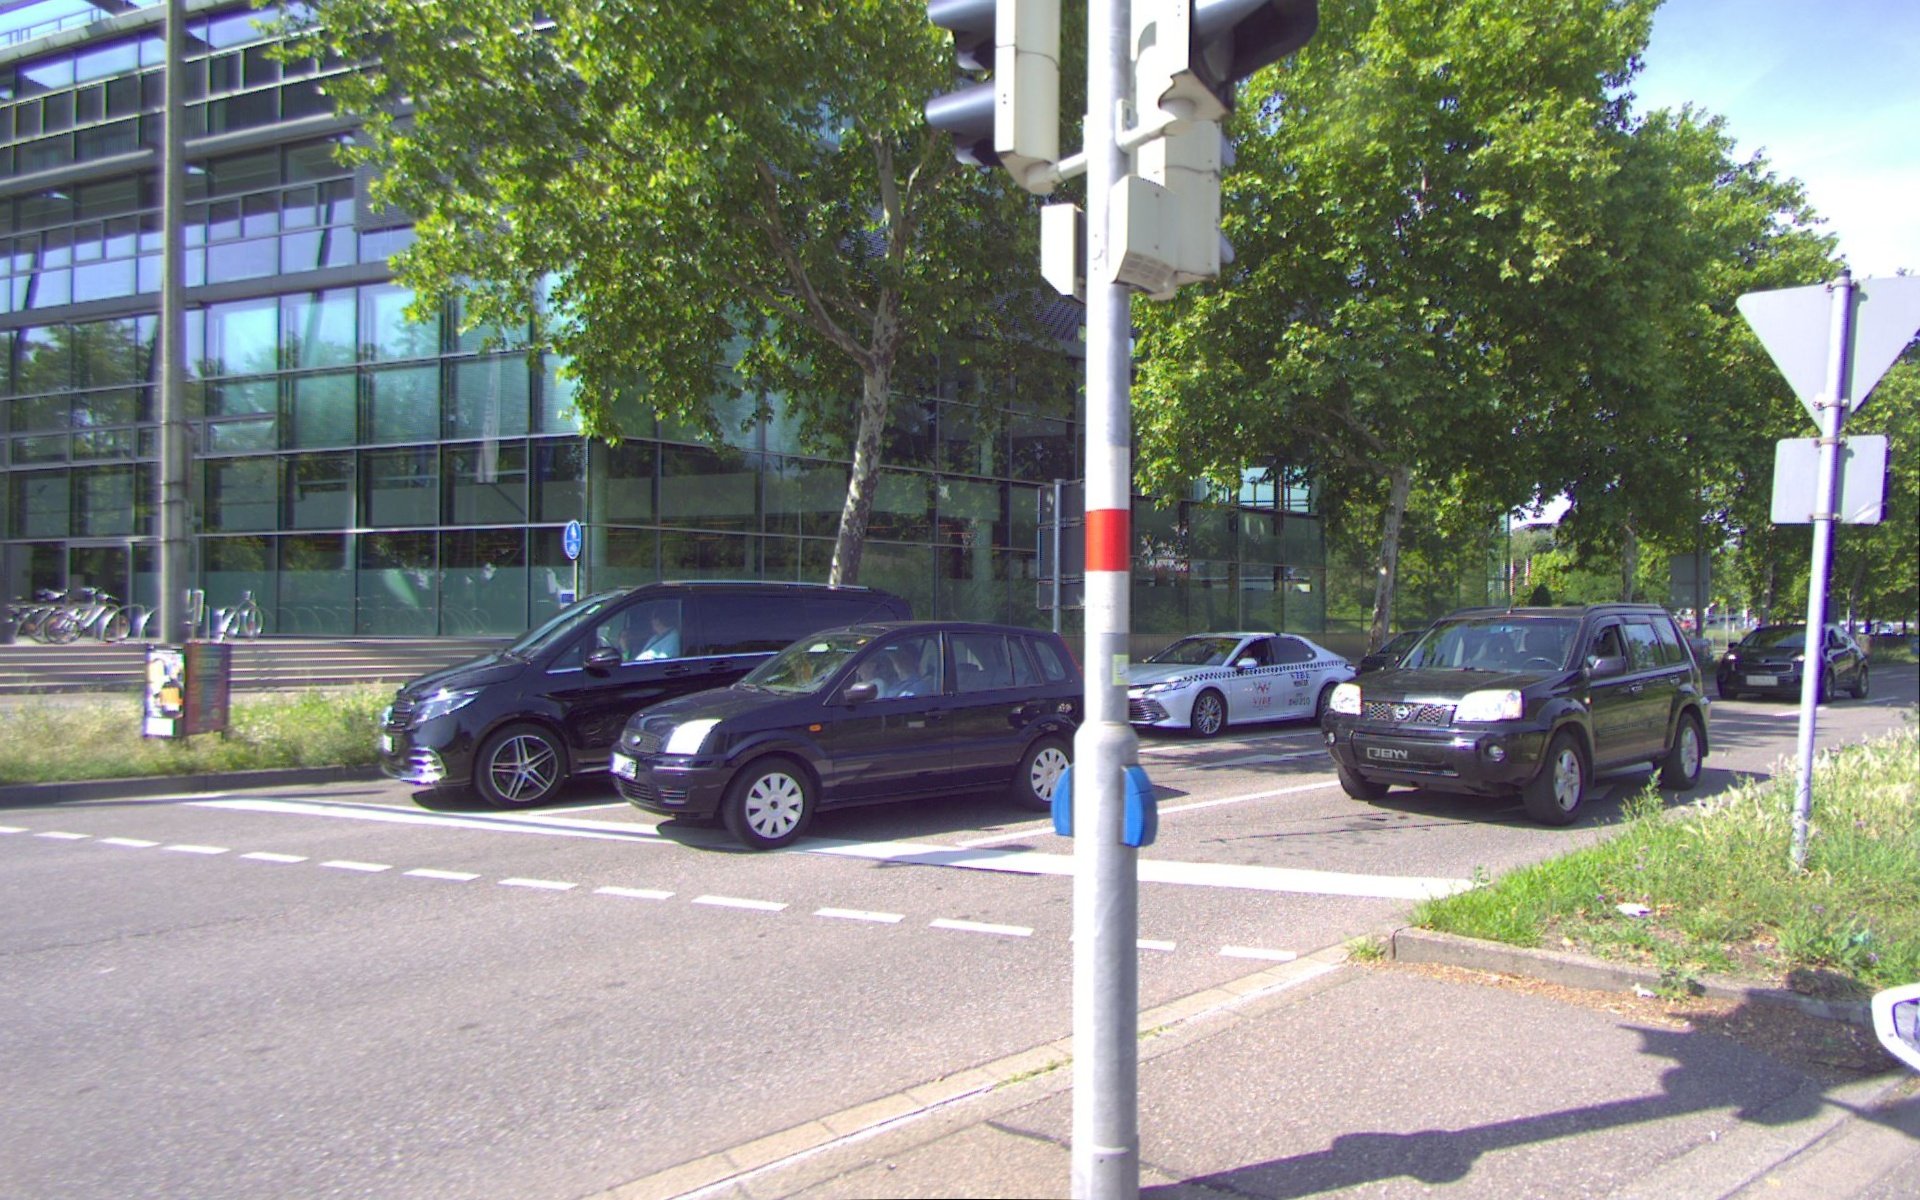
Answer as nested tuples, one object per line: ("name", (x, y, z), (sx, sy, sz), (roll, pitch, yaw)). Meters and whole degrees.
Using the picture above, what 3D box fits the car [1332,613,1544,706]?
("car", (9.400, 1.120, 19.622), (4.403, 1.611, 1.874), (1, -3, -36))

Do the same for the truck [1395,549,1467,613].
("truck", (27.758, -0.984, 59.499), (2.620, 3.440, 8.992), (0, -1, 17))

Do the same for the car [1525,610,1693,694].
("car", (15.842, 1.195, 24.431), (4.608, 1.859, 1.979), (1, -2, -37))

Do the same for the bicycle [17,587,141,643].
("bicycle", (-18.742, 0.321, 21.420), (0.724, 1.126, 1.887), (0, -1, 15))

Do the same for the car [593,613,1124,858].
("car", (-0.683, 0.860, 8.053), (3.921, 1.495, 1.749), (1, -1, -37))

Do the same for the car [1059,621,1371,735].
("car", (3.966, 1.093, 15.209), (4.956, 1.468, 1.878), (1, -3, -36))

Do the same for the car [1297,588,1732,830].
("car", (5.050, 0.779, 8.893), (4.451, 1.637, 1.794), (1, -1, -38))

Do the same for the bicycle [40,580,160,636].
("bicycle", (-18.015, 0.181, 21.094), (0.724, 1.126, 1.801), (0, -1, 15))

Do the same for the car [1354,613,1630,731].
("car", (7.916, 0.998, 14.801), (4.473, 1.481, 1.824), (1, -3, -36))

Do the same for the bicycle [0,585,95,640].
("bicycle", (-19.706, 0.276, 21.430), (0.724, 1.126, 1.801), (0, -1, 15))

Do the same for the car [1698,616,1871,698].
("car", (18.232, 1.183, 22.153), (4.454, 1.632, 1.979), (1, -1, -37))

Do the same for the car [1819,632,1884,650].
("car", (77.228, 3.560, 87.059), (1.755, 1.483, 3.961), (1, -2, -35))

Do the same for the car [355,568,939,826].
("car", (-2.853, 0.728, 9.903), (5.180, 1.945, 1.924), (0, 0, -37))
